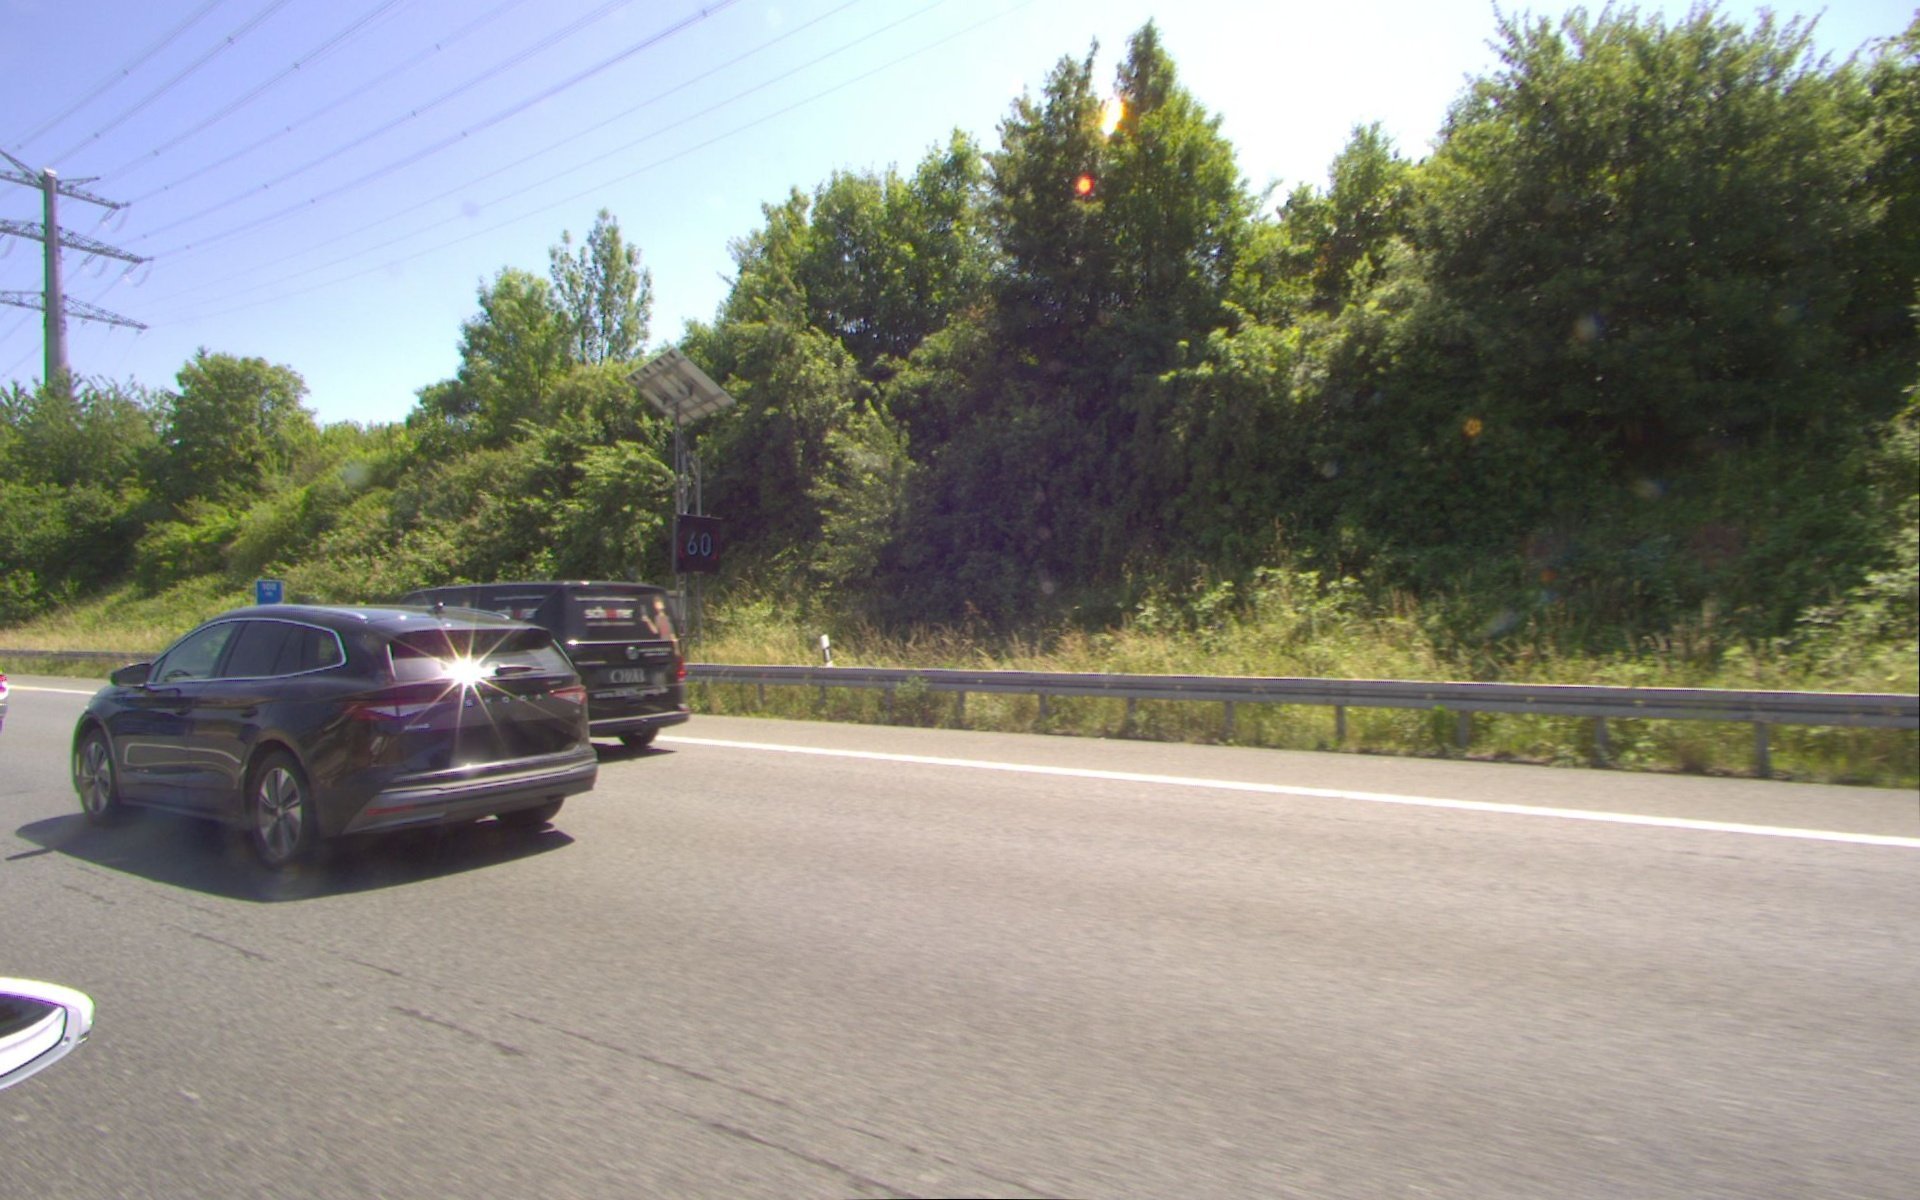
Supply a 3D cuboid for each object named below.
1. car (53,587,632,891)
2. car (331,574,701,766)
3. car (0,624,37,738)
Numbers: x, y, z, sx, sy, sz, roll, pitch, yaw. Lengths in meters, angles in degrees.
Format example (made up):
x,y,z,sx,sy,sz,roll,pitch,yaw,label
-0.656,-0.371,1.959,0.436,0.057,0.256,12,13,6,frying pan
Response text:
x,y,z,sx,sy,sz,roll,pitch,yaw,label
-4.617,0.817,7.323,4.366,1.635,1.825,-1,-2,31,car
-5.445,0.764,12.096,4.630,1.928,1.781,-1,-2,32,car
-14.340,1.042,13.331,4.318,1.455,1.819,-1,-2,30,car
